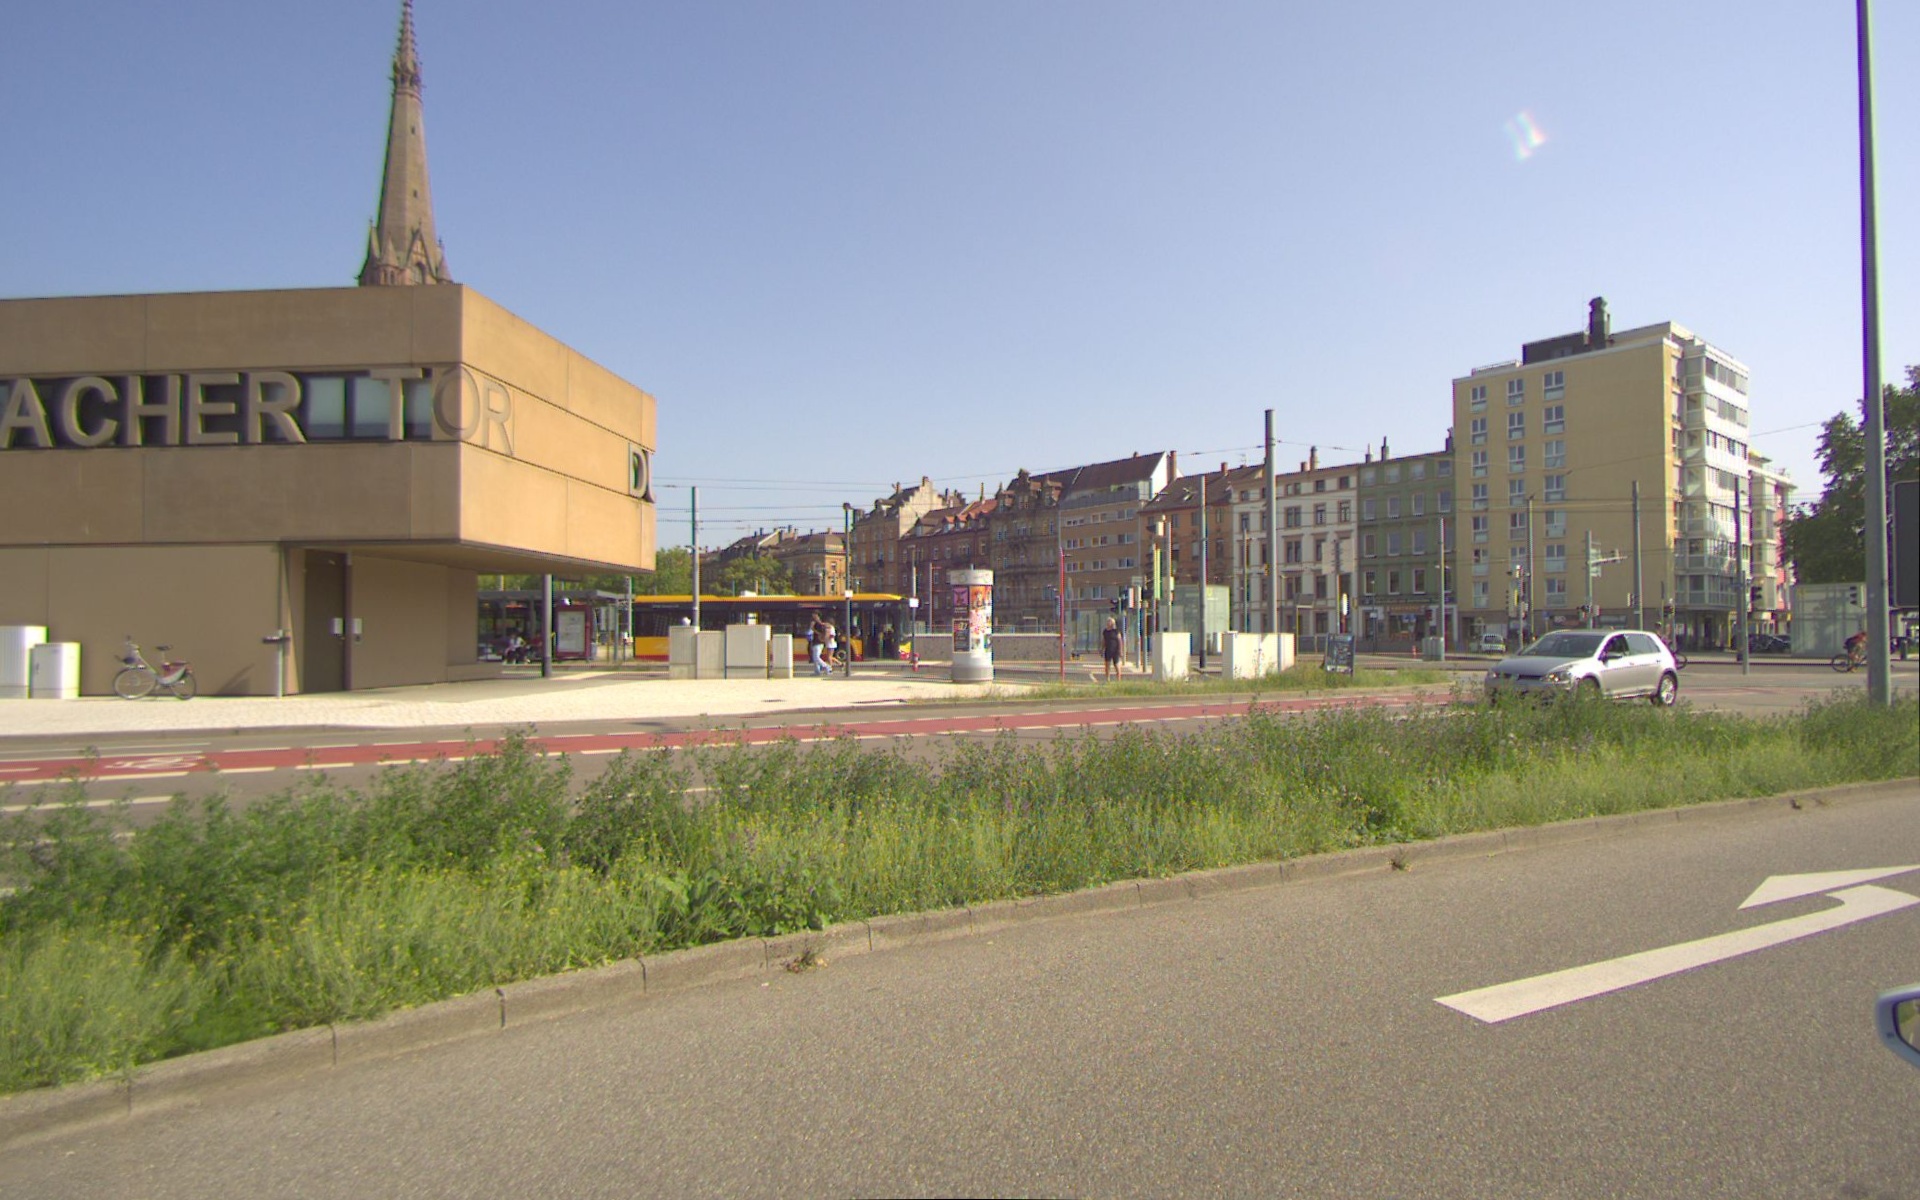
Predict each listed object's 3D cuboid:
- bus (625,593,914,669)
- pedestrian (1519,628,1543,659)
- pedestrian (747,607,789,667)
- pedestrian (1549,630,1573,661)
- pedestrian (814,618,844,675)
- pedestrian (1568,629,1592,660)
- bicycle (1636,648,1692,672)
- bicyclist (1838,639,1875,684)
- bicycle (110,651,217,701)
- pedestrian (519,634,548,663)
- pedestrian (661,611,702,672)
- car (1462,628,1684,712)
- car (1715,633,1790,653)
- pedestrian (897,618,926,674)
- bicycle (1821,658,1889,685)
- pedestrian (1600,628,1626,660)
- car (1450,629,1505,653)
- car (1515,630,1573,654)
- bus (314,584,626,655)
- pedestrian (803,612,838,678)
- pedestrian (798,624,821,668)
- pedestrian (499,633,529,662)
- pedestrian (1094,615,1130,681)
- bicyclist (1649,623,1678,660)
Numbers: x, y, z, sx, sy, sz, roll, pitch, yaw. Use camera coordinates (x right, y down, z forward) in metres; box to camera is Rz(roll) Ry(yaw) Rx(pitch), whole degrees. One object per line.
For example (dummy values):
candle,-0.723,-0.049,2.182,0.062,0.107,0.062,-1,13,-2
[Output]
bus,-8.139,1.331,43.527,11.967,3.149,2.718,0,-2,6
pedestrian,32.509,2.484,57.219,0.915,1.712,0.914,1,-2,-39
pedestrian,-5.625,1.088,29.409,0.857,1.727,0.980,1,-2,-35
pedestrian,34.008,2.577,56.814,0.915,1.712,0.914,1,-2,-39
pedestrian,-3.775,1.335,28.924,0.850,1.583,0.989,0,-2,-9
pedestrian,34.448,2.477,55.796,0.915,1.712,0.914,1,-2,-39
bicycle,29.702,2.513,42.414,0.718,0.944,1.802,1,-2,-33
bicyclist,34.054,2.338,38.174,0.718,1.674,0.876,1,-2,-33
bicycle,-14.411,1.363,18.185,1.516,0.849,0.593,0,1,7
pedestrian,-16.872,1.913,39.786,0.724,1.148,1.030,0,-2,-2
pedestrian,-7.959,1.183,28.714,0.857,1.694,0.980,1,-2,-35
car,11.720,1.283,19.176,4.173,1.452,1.806,1,-2,-29
car,57.661,3.094,73.114,1.470,1.372,4.121,1,-2,-40
pedestrian,-1.602,1.510,33.312,0.693,1.824,0.774,1,-2,-30
bicycle,34.024,2.714,38.208,0.718,0.944,1.802,1,-2,-33
pedestrian,35.282,2.390,54.275,0.915,1.712,0.914,1,-2,-39
car,39.103,3.059,76.049,1.960,1.700,4.552,0,-1,3
car,41.938,2.991,72.239,1.959,1.700,4.553,0,-1,7
bus,-21.583,0.889,44.583,12.537,3.017,3.302,0,-2,6
pedestrian,-3.830,1.230,27.585,0.851,1.793,0.987,1,-2,-13
pedestrian,-6.133,1.880,40.916,0.819,1.761,0.831,0,-2,0
pedestrian,-17.714,1.892,39.913,0.724,1.148,1.030,0,-2,-2
pedestrian,4.274,1.348,28.250,0.693,1.824,0.774,1,-2,-30
bicyclist,29.712,1.747,42.414,0.718,1.547,0.789,1,-2,-33
